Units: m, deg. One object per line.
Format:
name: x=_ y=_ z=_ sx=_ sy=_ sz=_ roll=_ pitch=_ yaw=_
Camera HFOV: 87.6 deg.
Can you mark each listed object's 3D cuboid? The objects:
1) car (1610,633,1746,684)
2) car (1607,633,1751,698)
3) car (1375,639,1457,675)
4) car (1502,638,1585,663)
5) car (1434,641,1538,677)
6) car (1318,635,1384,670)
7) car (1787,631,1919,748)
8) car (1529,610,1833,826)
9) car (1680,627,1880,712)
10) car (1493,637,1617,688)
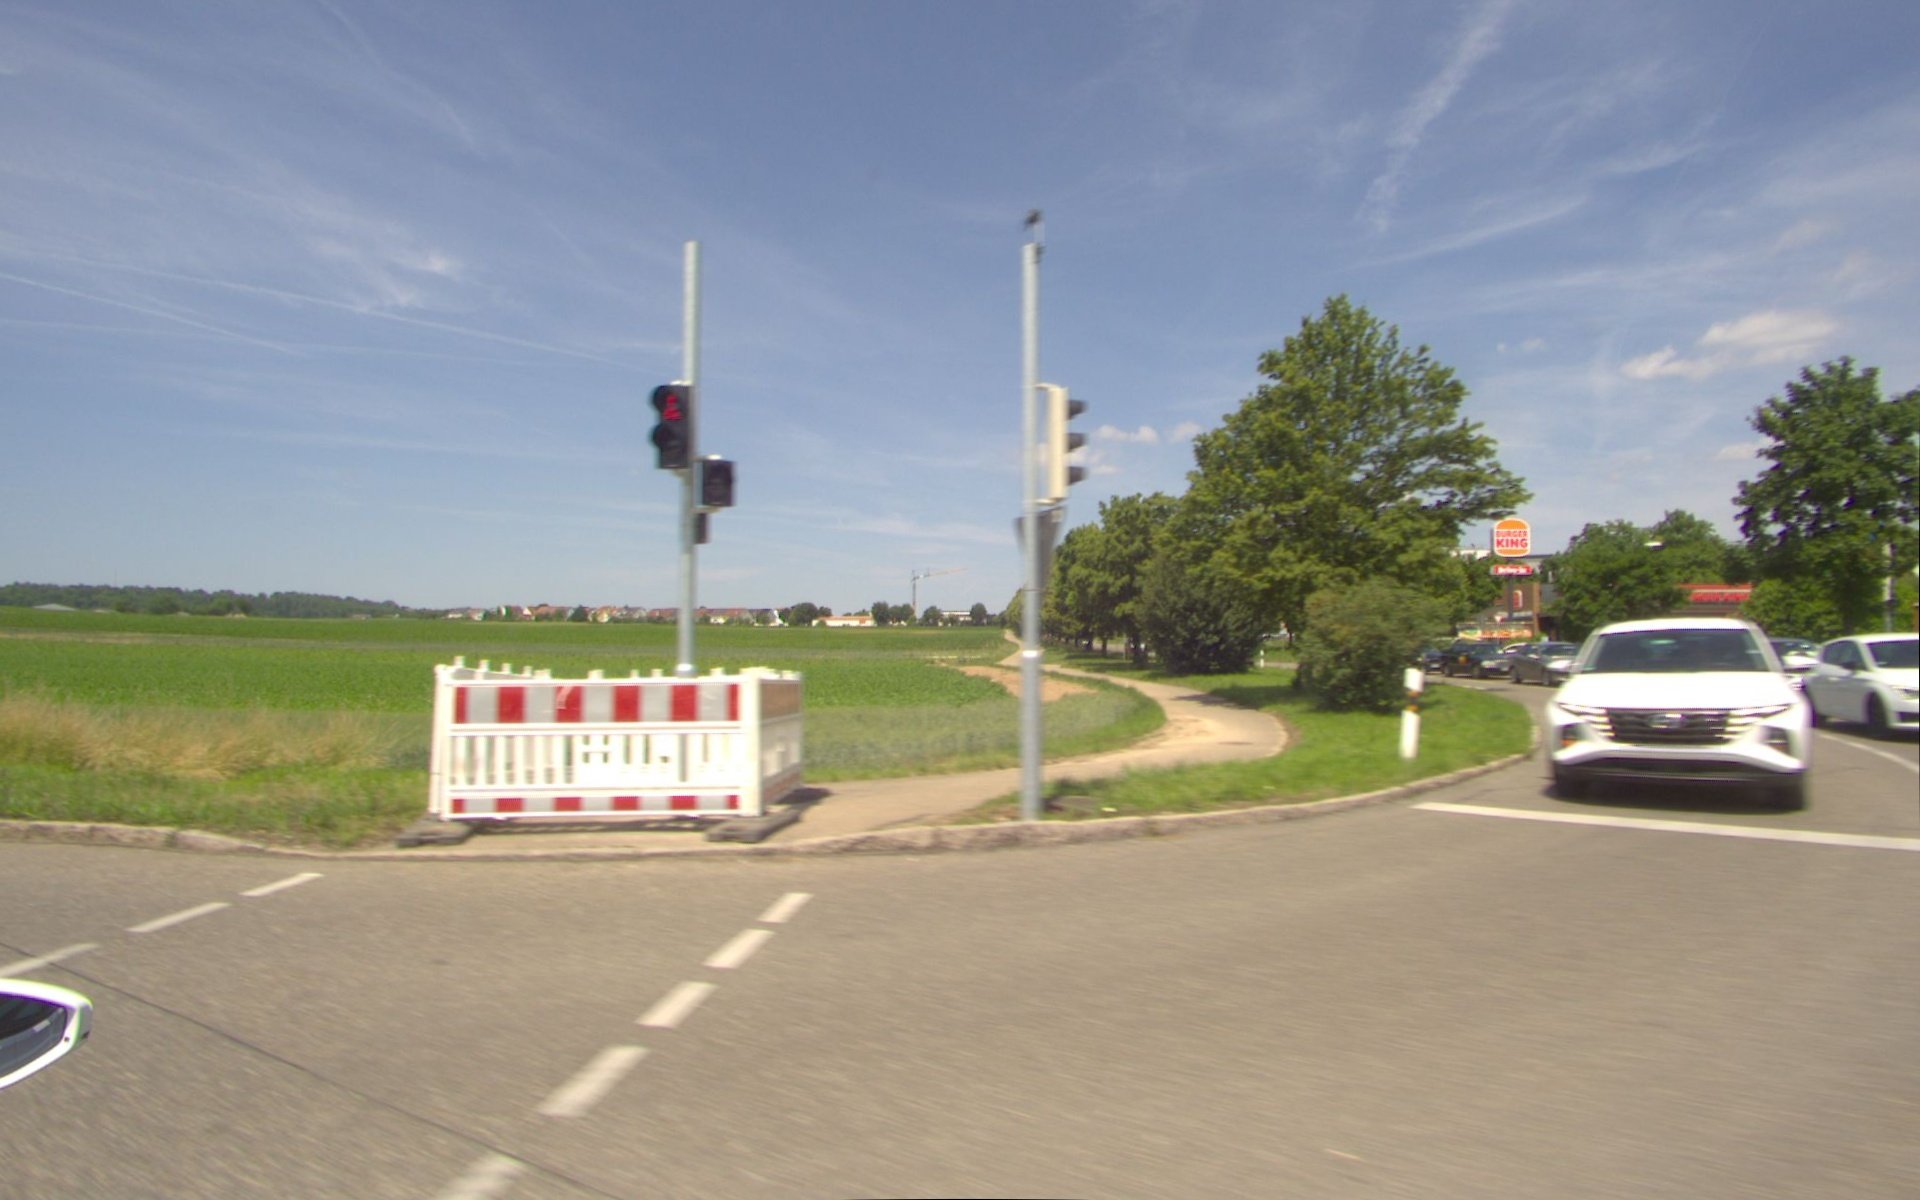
car: x=25.949 y=2.076 z=36.418 sx=1.830 sy=1.713 sz=4.528 roll=-1 pitch=-2 yaw=3
car: x=18.387 y=1.695 z=25.860 sx=1.769 sy=1.528 sz=4.557 roll=-2 pitch=-4 yaw=20
car: x=20.643 y=2.561 z=45.526 sx=1.766 sy=1.529 sz=4.236 roll=-1 pitch=-3 yaw=0
car: x=39.022 y=3.369 z=67.014 sx=4.457 sy=1.579 sz=1.860 roll=-3 pitch=-3 yaw=45
car: x=20.448 y=2.285 z=39.162 sx=1.766 sy=1.289 sz=4.565 roll=-1 pitch=-3 yaw=2
car: x=20.765 y=2.778 z=53.394 sx=1.961 sy=1.719 sz=4.294 roll=-1 pitch=-2 yaw=3
car: x=13.713 y=1.195 z=14.371 sx=1.772 sy=1.437 sz=4.094 roll=-2 pitch=-2 yaw=24
car: x=7.178 y=1.018 z=10.027 sx=1.974 sy=1.627 sz=4.612 roll=-2 pitch=-4 yaw=37
car: x=16.555 y=1.381 z=20.512 sx=1.770 sy=1.528 sz=4.554 roll=-2 pitch=-3 yaw=21
car: x=19.174 y=1.996 z=32.508 sx=1.766 sy=1.529 sz=4.564 roll=-1 pitch=-3 yaw=7
